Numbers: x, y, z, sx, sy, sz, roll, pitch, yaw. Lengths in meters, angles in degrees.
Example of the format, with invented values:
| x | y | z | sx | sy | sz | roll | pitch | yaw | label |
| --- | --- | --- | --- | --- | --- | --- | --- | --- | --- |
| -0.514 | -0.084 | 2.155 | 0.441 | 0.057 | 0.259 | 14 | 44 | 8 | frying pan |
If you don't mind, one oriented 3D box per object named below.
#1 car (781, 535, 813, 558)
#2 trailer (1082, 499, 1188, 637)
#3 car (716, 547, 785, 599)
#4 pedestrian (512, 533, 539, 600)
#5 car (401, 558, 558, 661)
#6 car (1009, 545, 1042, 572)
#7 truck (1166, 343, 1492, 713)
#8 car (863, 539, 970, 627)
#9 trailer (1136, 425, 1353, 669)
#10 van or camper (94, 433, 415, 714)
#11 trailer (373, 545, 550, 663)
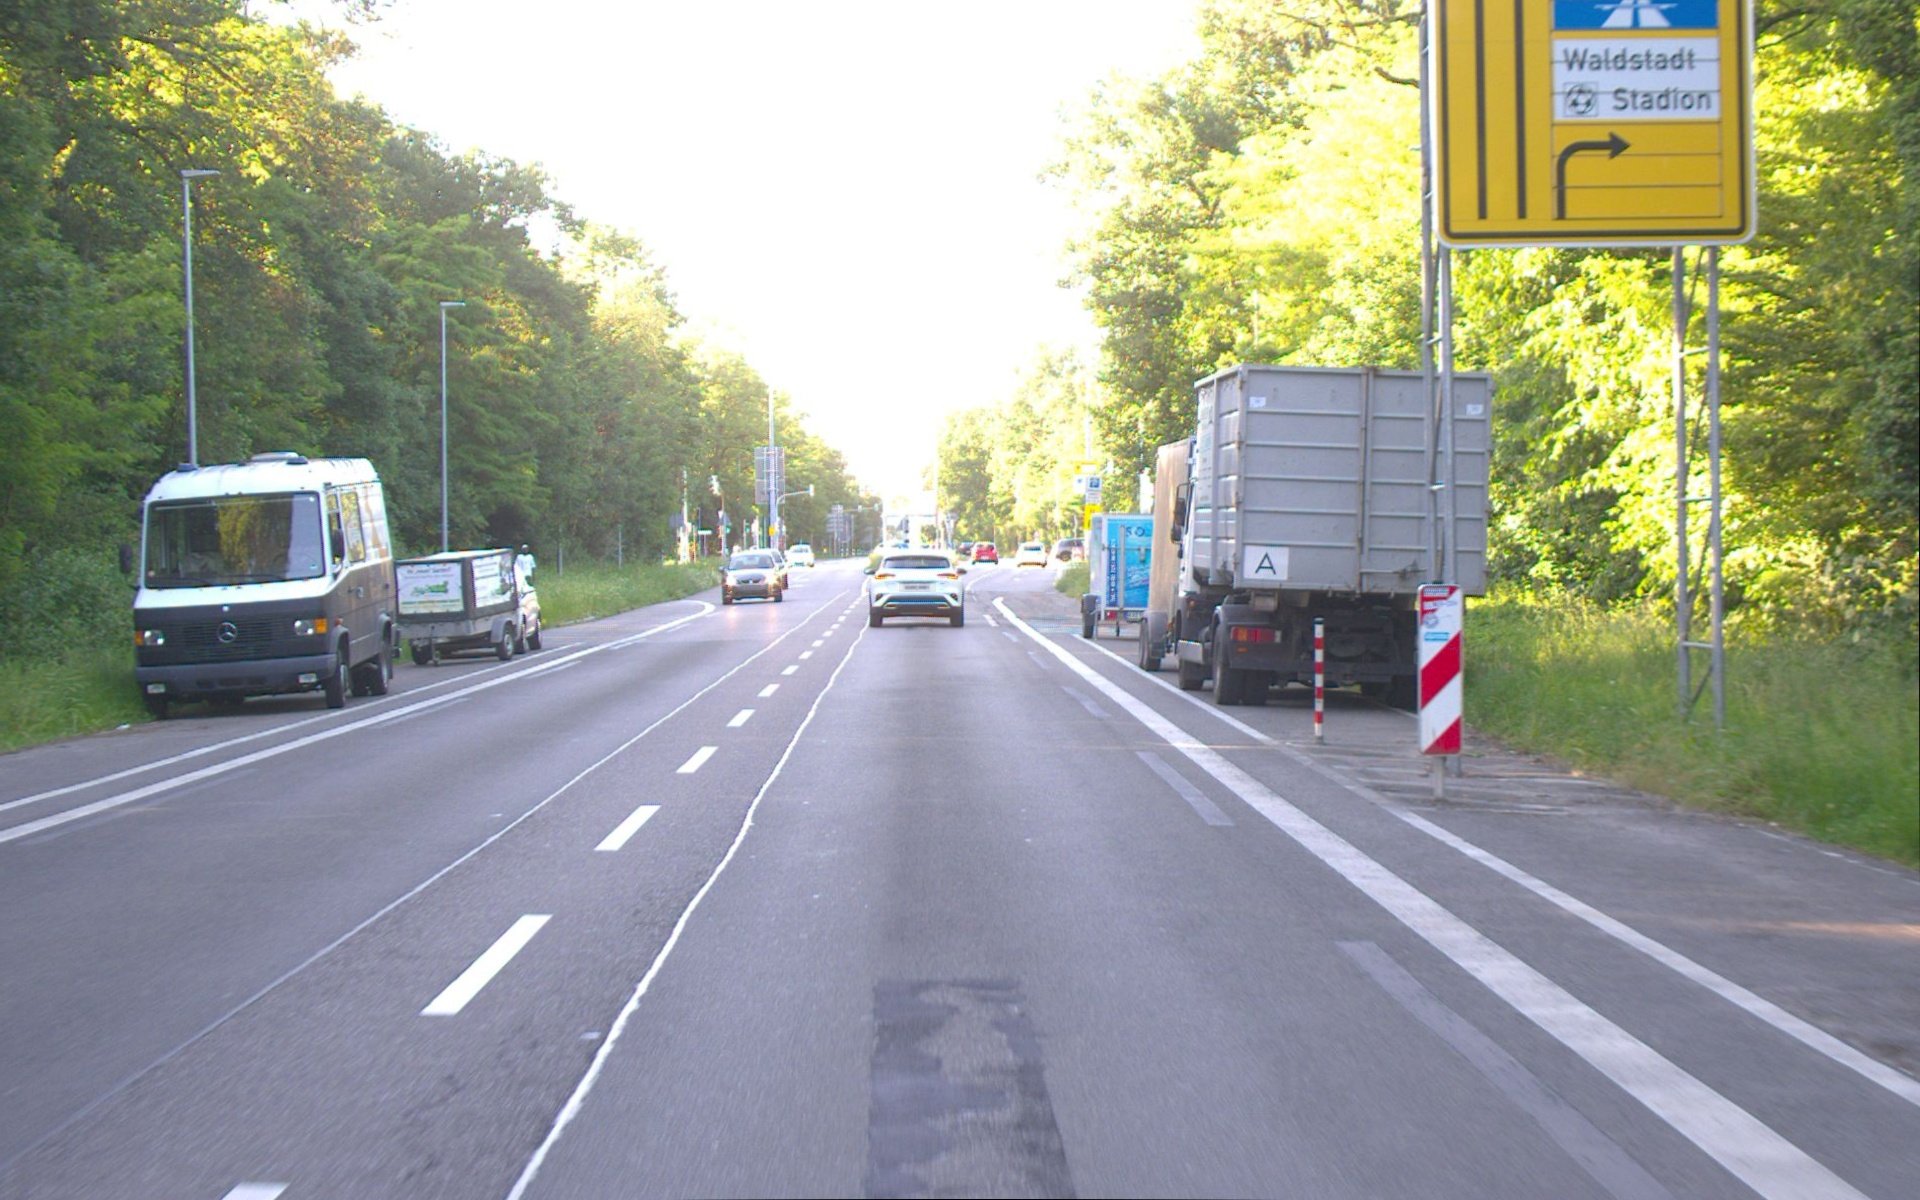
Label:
| x | y | z | sx | sy | sz | roll | pitch | yaw | label |
| --- | --- | --- | --- | --- | --- | --- | --- | --- | --- |
| -10.861 | -3.551 | 229.254 | 1.993 | 1.459 | 4.000 | 0 | 1 | -1 | car |
| 2.926 | -0.559 | 58.154 | 1.500 | 2.228 | 4.550 | 1 | 1 | 0 | trailer |
| -5.910 | -0.773 | 97.302 | 1.678 | 1.411 | 4.000 | -1 | 1 | 0 | car |
| -13.050 | -1.016 | 103.219 | 0.693 | 2.007 | 0.712 | 1 | 1 | 0 | pedestrian |
| -7.702 | 0.118 | 55.436 | 1.867 | 1.458 | 4.133 | -4 | 1 | 0 | car |
| 4.056 | -2.556 | 212.772 | 1.993 | 1.612 | 4.000 | 1 | 1 | 0 | car |
| 3.571 | -0.699 | 34.884 | 2.505 | 3.355 | 7.107 | 0 | 1 | 0 | truck |
| -0.850 | -0.356 | 66.845 | 1.993 | 1.634 | 4.000 | -1 | 1 | -1 | car |
| 3.466 | -0.662 | 42.930 | 2.272 | 2.835 | 5.207 | 1 | 1 | 0 | trailer |
| -7.673 | -0.316 | 38.026 | 2.302 | 2.758 | 5.557 | -3 | 1 | -1 | van or camper |
| -7.411 | 0.032 | 51.333 | 1.471 | 1.654 | 3.364 | -2 | 0 | 12 | trailer |
